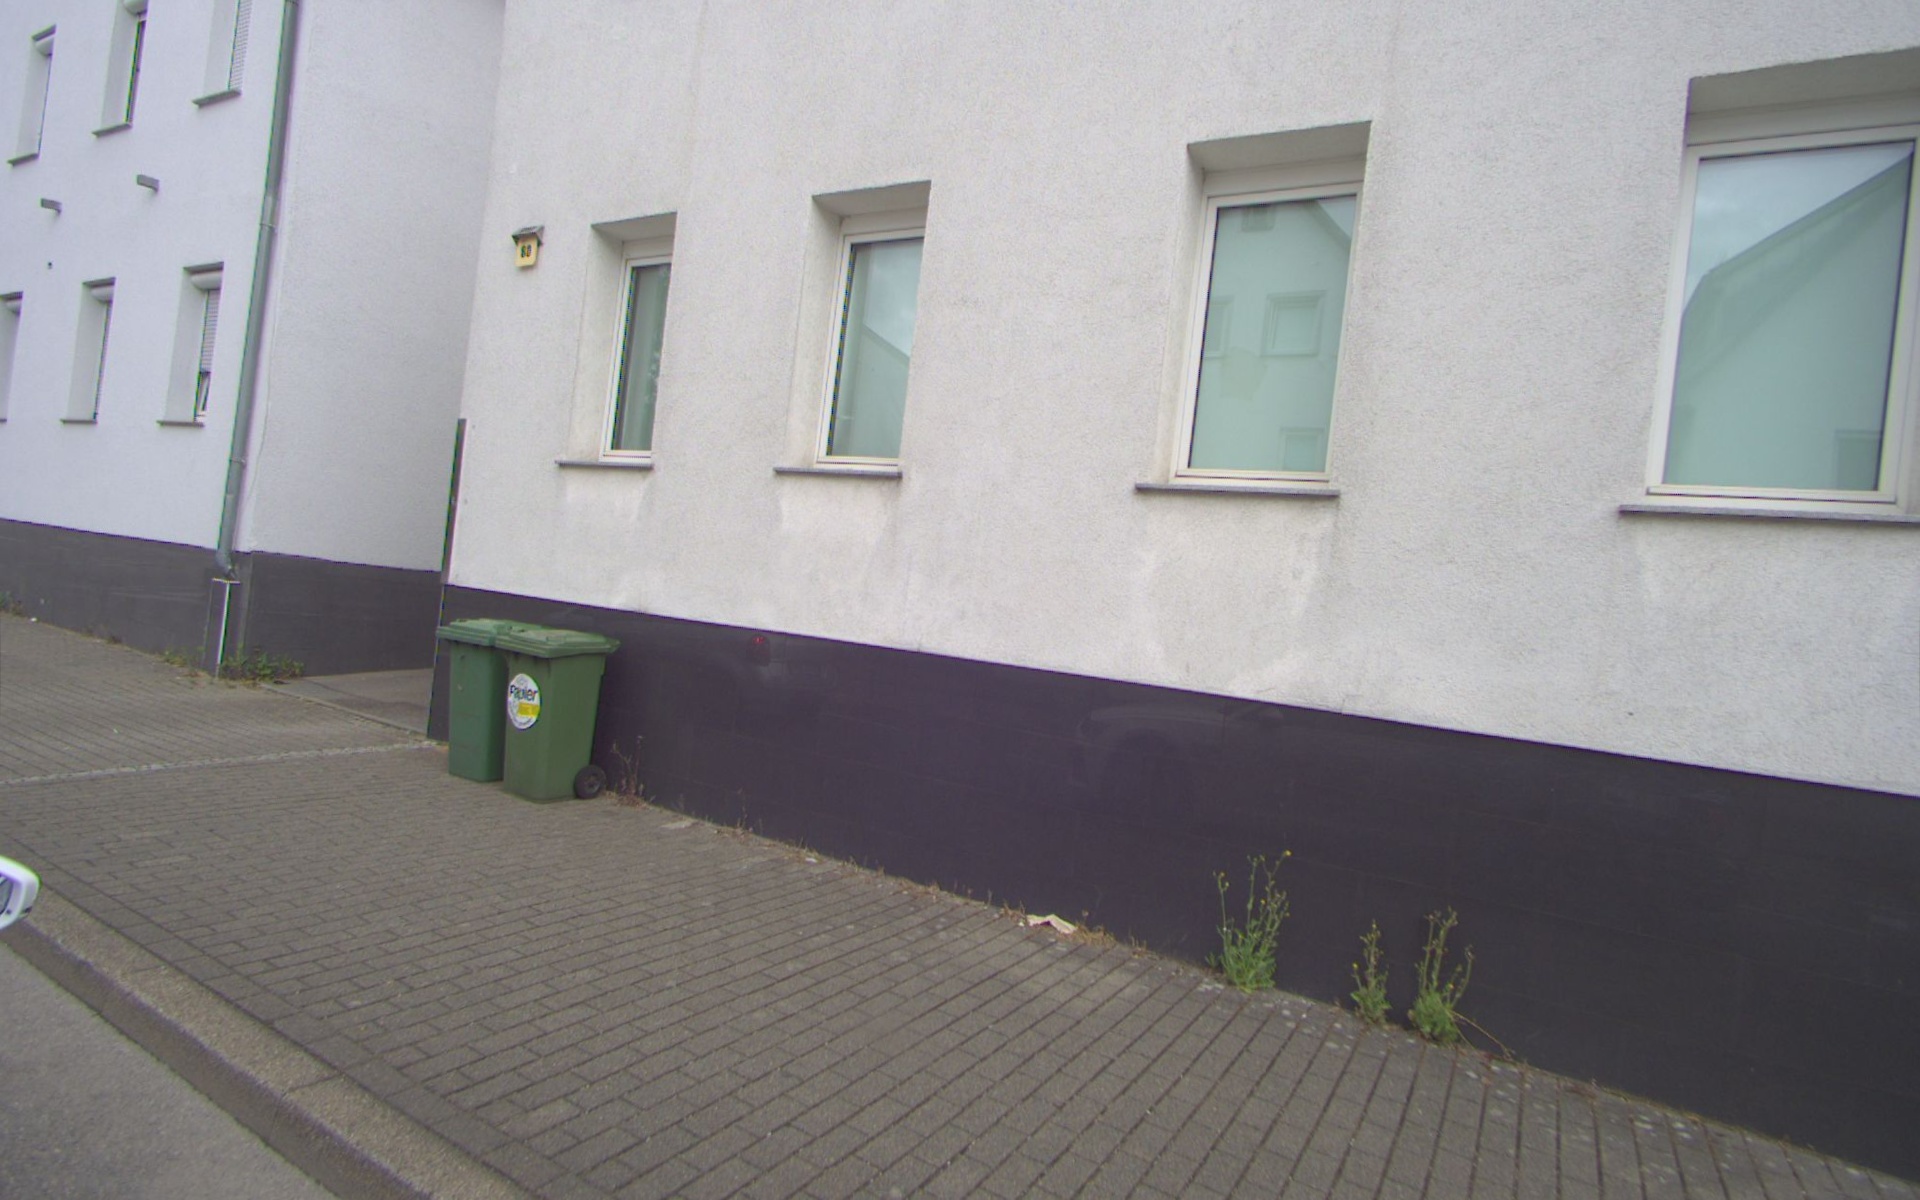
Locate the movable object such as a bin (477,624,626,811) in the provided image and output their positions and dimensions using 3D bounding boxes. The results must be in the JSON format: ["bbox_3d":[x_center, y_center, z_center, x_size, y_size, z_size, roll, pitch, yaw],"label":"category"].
[{"bbox_3d":[-2.314,0.641,5.713,0.479,0.953,0.540,7,2,32],"label":"movable object such as a bin"}]

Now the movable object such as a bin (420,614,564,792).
[{"bbox_3d":[-2.772,0.587,5.971,0.479,0.953,0.540,7,2,32],"label":"movable object such as a bin"}]
